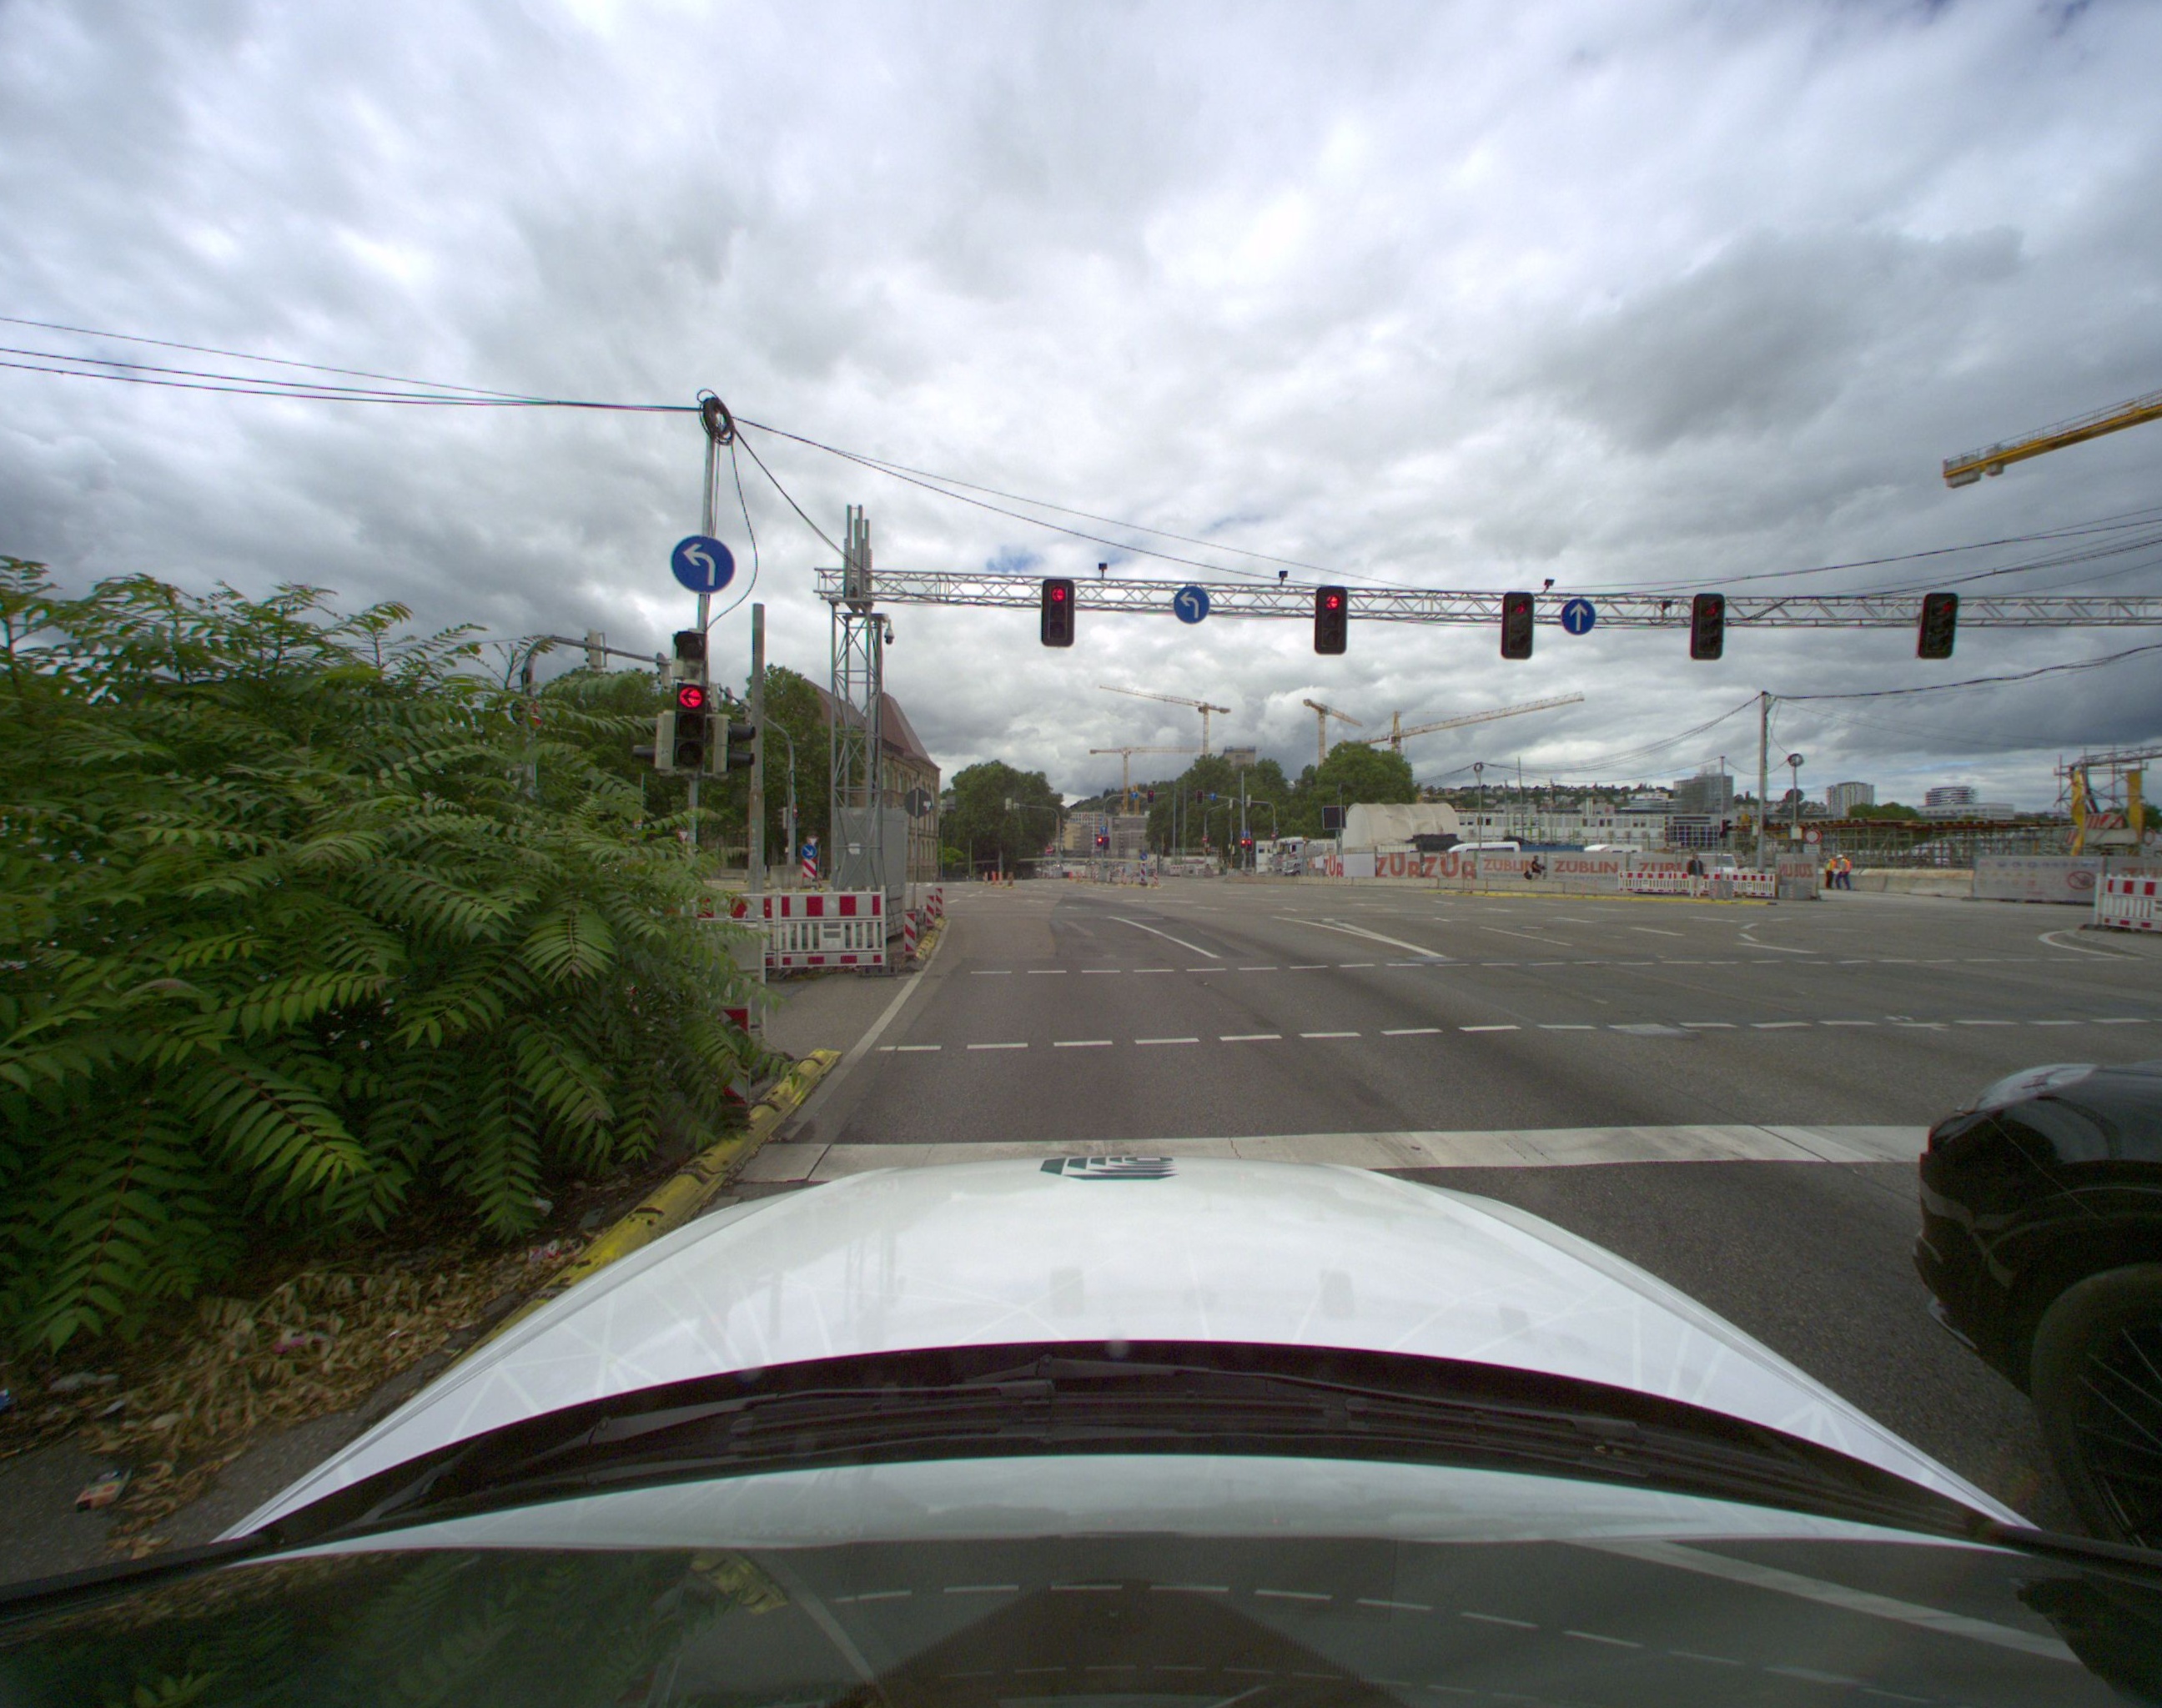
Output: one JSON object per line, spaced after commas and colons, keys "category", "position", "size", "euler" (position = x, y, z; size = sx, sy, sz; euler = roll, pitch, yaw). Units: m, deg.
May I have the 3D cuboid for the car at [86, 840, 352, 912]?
{"category": "car", "position": [-21.249, 0.527, 20.252], "size": [4.302, 1.676, 1.998], "euler": [0, 0, -3]}

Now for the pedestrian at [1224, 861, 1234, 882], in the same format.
{"category": "pedestrian", "position": [12.248, 1.433, 67.323], "size": [0.726, 1.689, 0.678], "euler": [0, 0, 1]}

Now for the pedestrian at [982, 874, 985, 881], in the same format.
{"category": "pedestrian", "position": [-21.132, 5.098, 176.260], "size": [0.534, 1.592, 0.515], "euler": [0, 0, -2]}

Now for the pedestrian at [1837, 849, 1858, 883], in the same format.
{"category": "pedestrian", "position": [38.764, 0.599, 41.187], "size": [0.651, 1.717, 0.516], "euler": [0, 0, -9]}

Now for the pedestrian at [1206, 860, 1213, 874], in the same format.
{"category": "pedestrian", "position": [14.855, 1.486, 94.197], "size": [0.726, 1.689, 0.678], "euler": [0, 0, 1]}

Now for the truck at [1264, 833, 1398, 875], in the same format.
{"category": "truck", "position": [25.034, -0.027, 81.584], "size": [13.062, 4.041, 3.926], "euler": [0, 0, -18]}

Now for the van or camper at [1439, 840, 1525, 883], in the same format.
{"category": "van or camper", "position": [23.148, 0.420, 47.197], "size": [4.181, 2.357, 2.009], "euler": [0, 0, 16]}

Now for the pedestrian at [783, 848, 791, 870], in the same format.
{"category": "pedestrian", "position": [-26.773, 0.426, 74.164], "size": [0.530, 2.014, 0.423], "euler": [1, -1, -42]}

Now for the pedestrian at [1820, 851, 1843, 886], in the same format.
{"category": "pedestrian", "position": [38.742, 0.732, 42.030], "size": [0.651, 1.795, 0.617], "euler": [0, 0, -9]}

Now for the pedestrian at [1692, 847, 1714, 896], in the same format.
{"category": "pedestrian", "position": [25.788, 0.721, 33.755], "size": [0.645, 2.013, 0.520], "euler": [0, 0, 27]}

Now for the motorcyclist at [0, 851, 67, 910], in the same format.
{"category": "motorcyclist", "position": [-25.621, 0.630, 19.792], "size": [0.963, 1.423, 0.745], "euler": [0, 0, -4]}

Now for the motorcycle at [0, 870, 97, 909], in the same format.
{"category": "motorcycle", "position": [-25.475, 0.853, 19.807], "size": [2.051, 0.924, 0.756], "euler": [0, 0, -4]}

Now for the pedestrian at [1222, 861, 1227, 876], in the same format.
{"category": "pedestrian", "position": [16.597, 1.673, 94.046], "size": [0.564, 1.689, 0.472], "euler": [0, 0, 1]}

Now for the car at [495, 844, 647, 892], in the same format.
{"category": "car", "position": [-18.823, 0.502, 30.244], "size": [4.315, 1.676, 1.992], "euler": [0, 0, -12]}

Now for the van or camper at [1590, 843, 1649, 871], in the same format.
{"category": "van or camper", "position": [56.438, 0.293, 85.381], "size": [5.282, 2.911, 1.993], "euler": [0, -1, -10]}

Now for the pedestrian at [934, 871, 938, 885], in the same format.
{"category": "pedestrian", "position": [-21.027, 3.462, 118.295], "size": [0.522, 2.014, 0.567], "euler": [0, 0, 2]}

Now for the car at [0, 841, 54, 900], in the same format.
{"category": "car", "position": [-32.896, 0.457, 23.277], "size": [4.302, 1.676, 1.998], "euler": [0, 0, -3]}

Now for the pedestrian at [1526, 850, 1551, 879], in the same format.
{"category": "pedestrian", "position": [22.392, 0.507, 39.835], "size": [0.893, 1.378, 0.804], "euler": [0, 0, 45]}

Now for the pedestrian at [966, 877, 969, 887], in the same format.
{"category": "pedestrian", "position": [-21.529, 5.335, 154.697], "size": [0.522, 2.014, 0.567], "euler": [0, 0, 2]}

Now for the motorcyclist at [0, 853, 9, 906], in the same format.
{"category": "motorcyclist", "position": [-29.457, 0.681, 21.602], "size": [0.963, 1.423, 0.753], "euler": [0, 0, -4]}

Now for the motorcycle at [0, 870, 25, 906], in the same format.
{"category": "motorcycle", "position": [-29.599, 0.906, 21.596], "size": [2.051, 0.924, 0.756], "euler": [0, 0, -4]}
